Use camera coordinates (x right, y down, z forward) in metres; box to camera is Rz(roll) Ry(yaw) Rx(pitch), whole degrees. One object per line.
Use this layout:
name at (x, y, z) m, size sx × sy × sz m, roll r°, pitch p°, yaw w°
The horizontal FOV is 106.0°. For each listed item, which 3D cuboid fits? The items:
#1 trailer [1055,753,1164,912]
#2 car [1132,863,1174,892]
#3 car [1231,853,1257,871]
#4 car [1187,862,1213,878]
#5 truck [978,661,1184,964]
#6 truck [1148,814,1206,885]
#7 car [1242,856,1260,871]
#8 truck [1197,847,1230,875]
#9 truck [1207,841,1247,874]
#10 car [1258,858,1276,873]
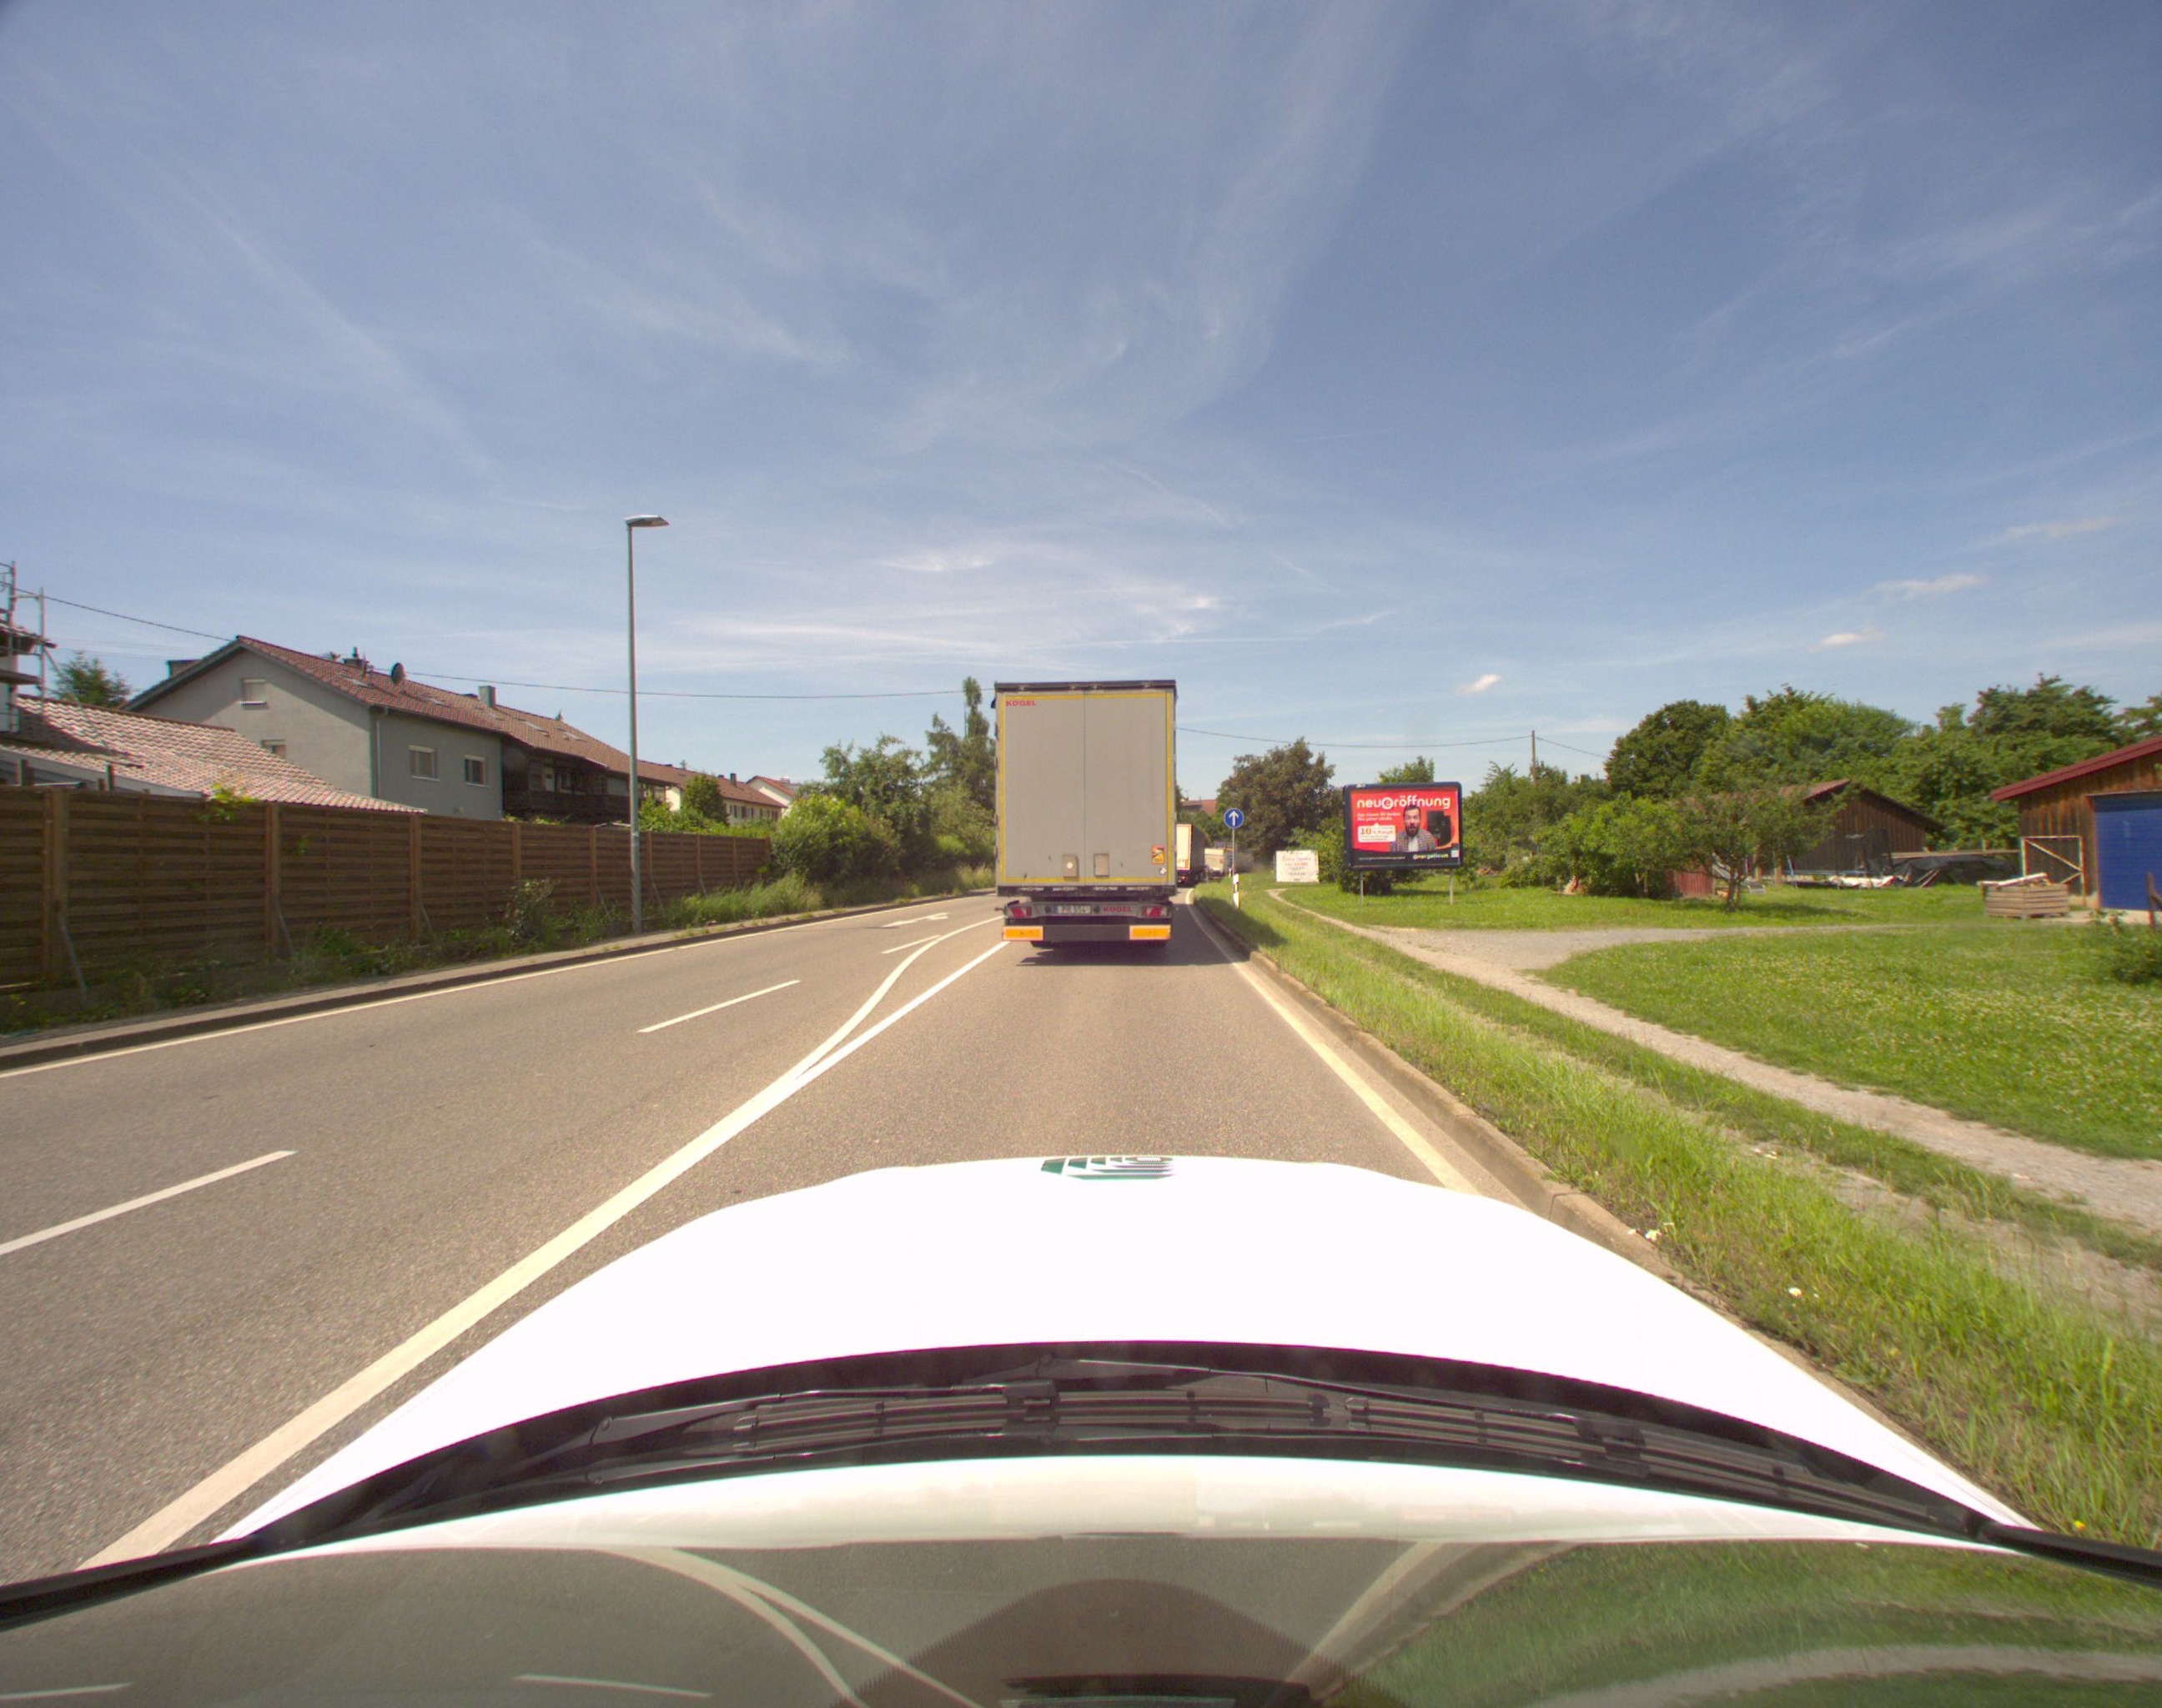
trailer at (1.006, -0.559, 24.534) m, size 2.812 × 4.111 × 6.552 m, roll -1°, pitch 0°, yaw 5°
car at (3.625, 1.149, 40.474) m, size 1.808 × 1.346 × 3.857 m, roll 0°, pitch -1°, yaw 9°
car at (20.669, 0.980, 103.280) m, size 2.512 × 2.277 × 6.410 m, roll 0°, pitch 0°, yaw 18°
car at (10.883, 1.439, 74.261) m, size 1.979 × 1.376 × 4.015 m, roll 0°, pitch -1°, yaw 14°
truck at (0.417, -0.562, 16.887) m, size 2.809 × 4.127 × 11.456 m, roll 0°, pitch 0°, yaw 4°
truck at (7.064, -0.116, 57.635) m, size 2.742 × 4.289 × 16.464 m, roll 0°, pitch -1°, yaw 11°
car at (22.925, 1.322, 109.521) m, size 1.978 × 2.014 × 4.018 m, roll -1°, pitch -1°, yaw 17°
truck at (13.448, 0.734, 82.231) m, size 2.524 × 2.803 × 6.057 m, roll -1°, pitch -1°, yaw 16°
truck at (16.646, 0.357, 92.245) m, size 3.406 × 3.604 × 9.395 m, roll -1°, pitch 0°, yaw 17°
car at (26.998, 1.675, 118.183) m, size 1.976 × 2.014 × 4.021 m, roll -1°, pitch -1°, yaw 22°
